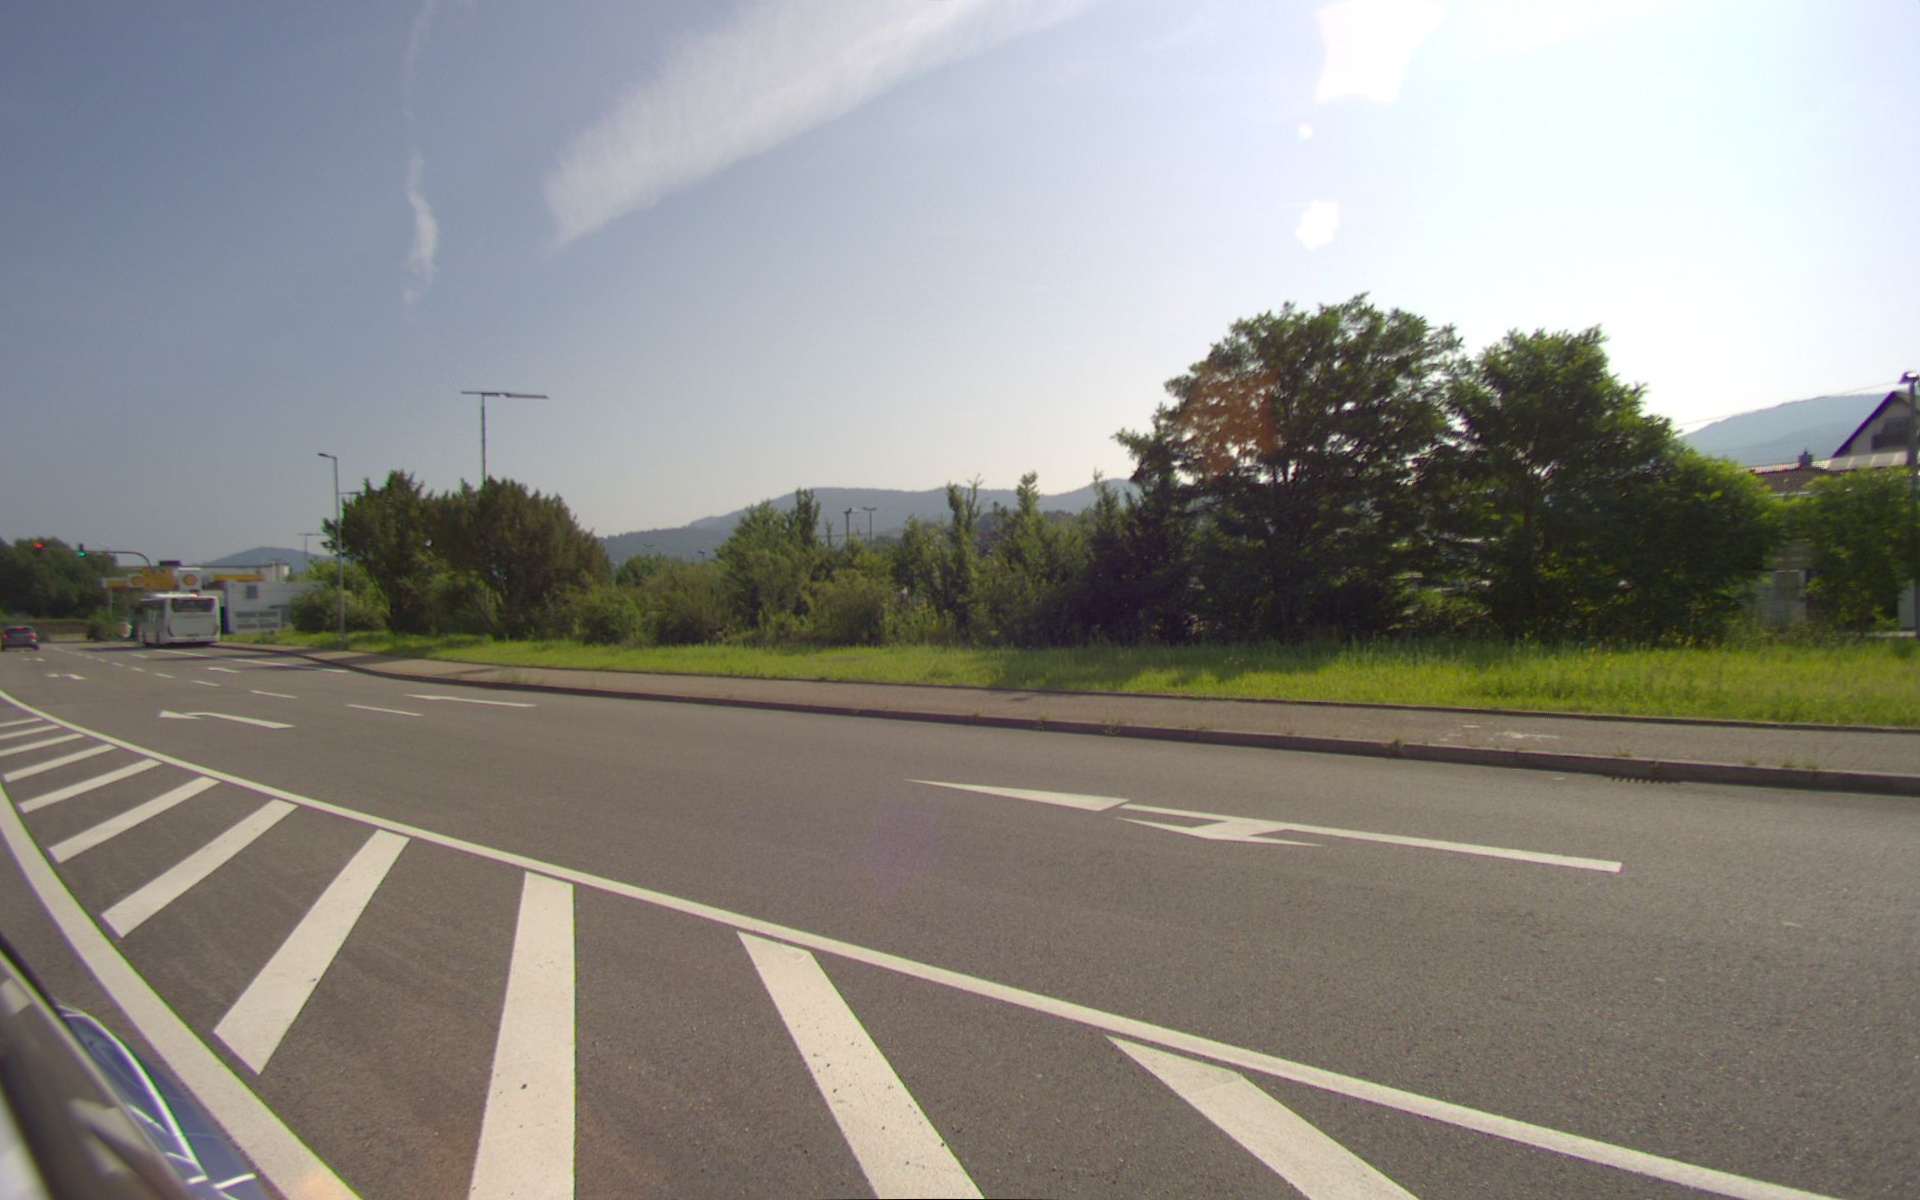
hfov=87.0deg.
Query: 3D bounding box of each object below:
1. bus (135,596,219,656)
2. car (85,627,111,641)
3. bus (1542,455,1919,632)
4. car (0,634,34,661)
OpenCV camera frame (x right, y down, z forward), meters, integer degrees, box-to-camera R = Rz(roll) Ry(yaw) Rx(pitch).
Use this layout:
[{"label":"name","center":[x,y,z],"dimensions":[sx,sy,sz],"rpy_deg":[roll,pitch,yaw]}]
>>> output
[{"label":"bus","center":[-47.842,1.531,61.632],"dimensions":[2.591,3.335,11.963],"rpy_deg":[-1,-1,-45]},{"label":"car","center":[-92.974,3.651,109.099],"dimensions":[1.816,1.503,4.434],"rpy_deg":[-1,-1,-45]},{"label":"bus","center":[18.394,-1.111,19.795],"dimensions":[11.715,3.147,3.033],"rpy_deg":[-3,0,41]},{"label":"car","center":[-56.404,2.782,60.295],"dimensions":[1.751,1.484,4.223],"rpy_deg":[-1,-1,-44]}]
